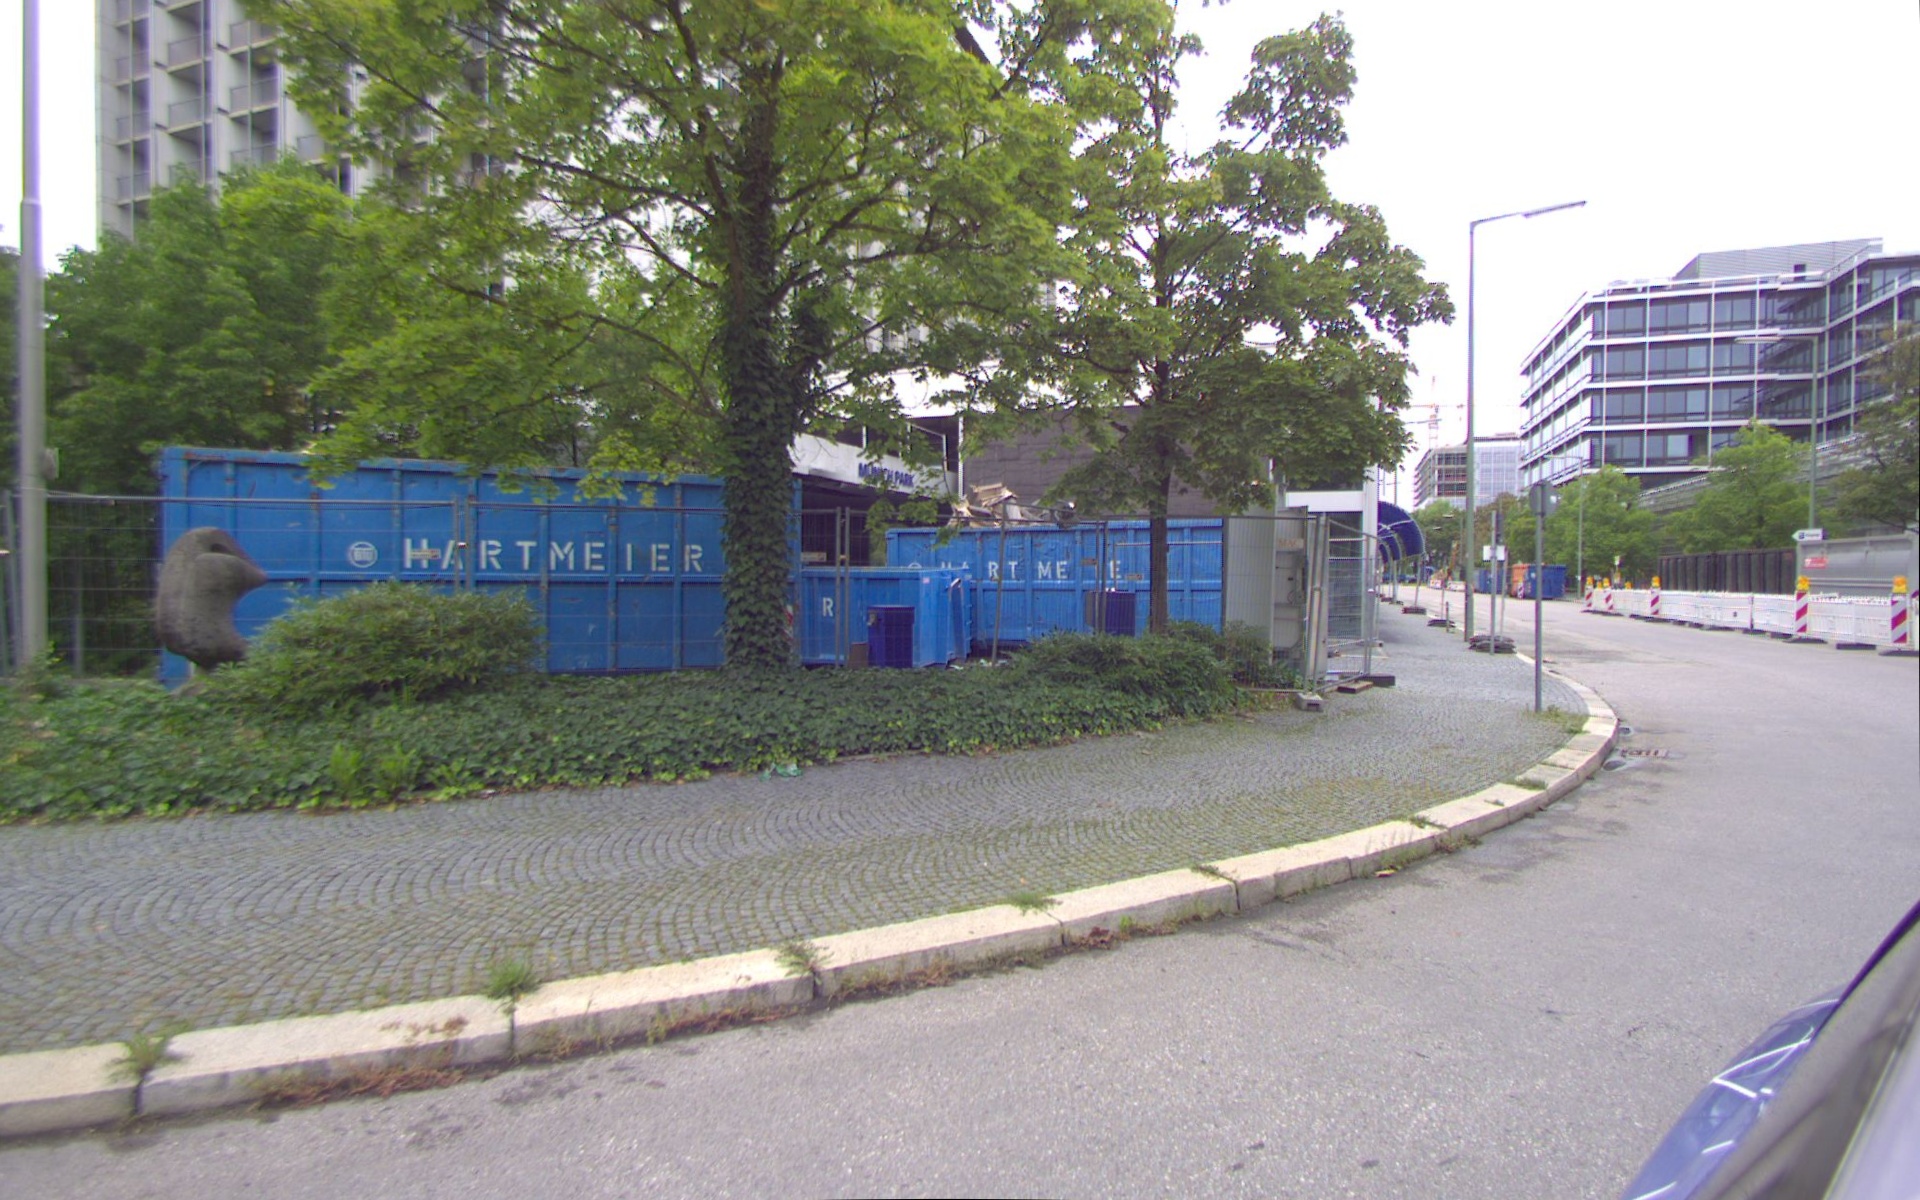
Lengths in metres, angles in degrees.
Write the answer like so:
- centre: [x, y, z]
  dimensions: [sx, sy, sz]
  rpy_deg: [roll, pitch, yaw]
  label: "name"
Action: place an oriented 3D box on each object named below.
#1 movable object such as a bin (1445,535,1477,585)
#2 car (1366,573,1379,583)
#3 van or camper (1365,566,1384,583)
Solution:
- centre: [66.919, -5.300, 135.308]
  dimensions: [3.208, 6.400, 8.272]
  rpy_deg: [1, 1, 23]
  label: "movable object such as a bin"
- centre: [66.637, -3.537, 163.301]
  dimensions: [1.892, 1.657, 3.970]
  rpy_deg: [1, 2, 23]
  label: "car"
- centre: [69.204, -4.271, 168.977]
  dimensions: [2.640, 2.801, 6.859]
  rpy_deg: [1, 2, 24]
  label: "van or camper"
